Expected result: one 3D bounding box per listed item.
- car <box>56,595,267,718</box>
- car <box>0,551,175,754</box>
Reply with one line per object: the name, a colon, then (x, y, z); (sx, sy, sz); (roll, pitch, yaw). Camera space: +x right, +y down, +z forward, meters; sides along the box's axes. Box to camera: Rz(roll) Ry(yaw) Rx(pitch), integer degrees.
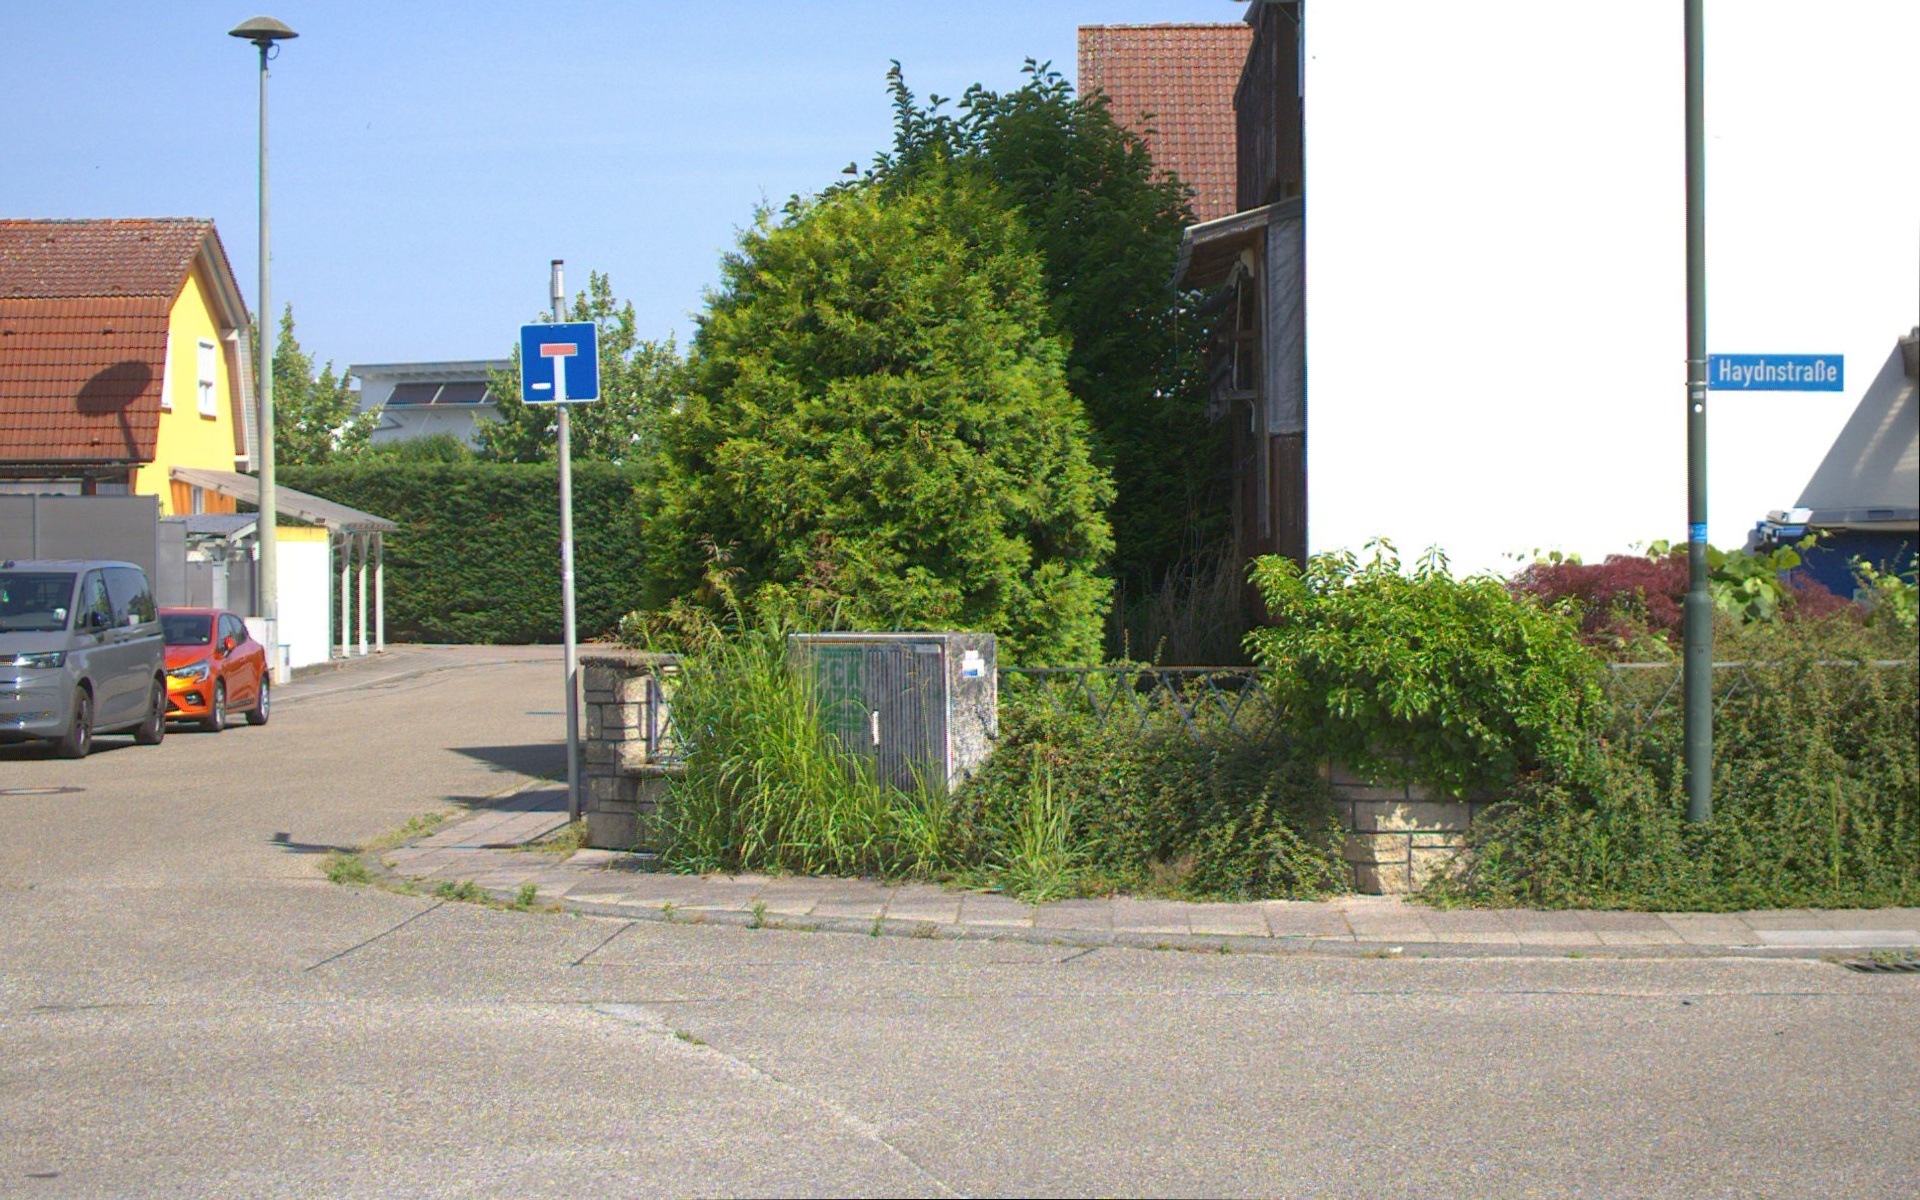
car: (-9.296, 0.628, 40.269); (1.652, 1.360, 3.779); (0, 0, -1)
car: (-9.203, 0.458, 33.673); (1.901, 1.863, 4.371); (0, 1, 2)
